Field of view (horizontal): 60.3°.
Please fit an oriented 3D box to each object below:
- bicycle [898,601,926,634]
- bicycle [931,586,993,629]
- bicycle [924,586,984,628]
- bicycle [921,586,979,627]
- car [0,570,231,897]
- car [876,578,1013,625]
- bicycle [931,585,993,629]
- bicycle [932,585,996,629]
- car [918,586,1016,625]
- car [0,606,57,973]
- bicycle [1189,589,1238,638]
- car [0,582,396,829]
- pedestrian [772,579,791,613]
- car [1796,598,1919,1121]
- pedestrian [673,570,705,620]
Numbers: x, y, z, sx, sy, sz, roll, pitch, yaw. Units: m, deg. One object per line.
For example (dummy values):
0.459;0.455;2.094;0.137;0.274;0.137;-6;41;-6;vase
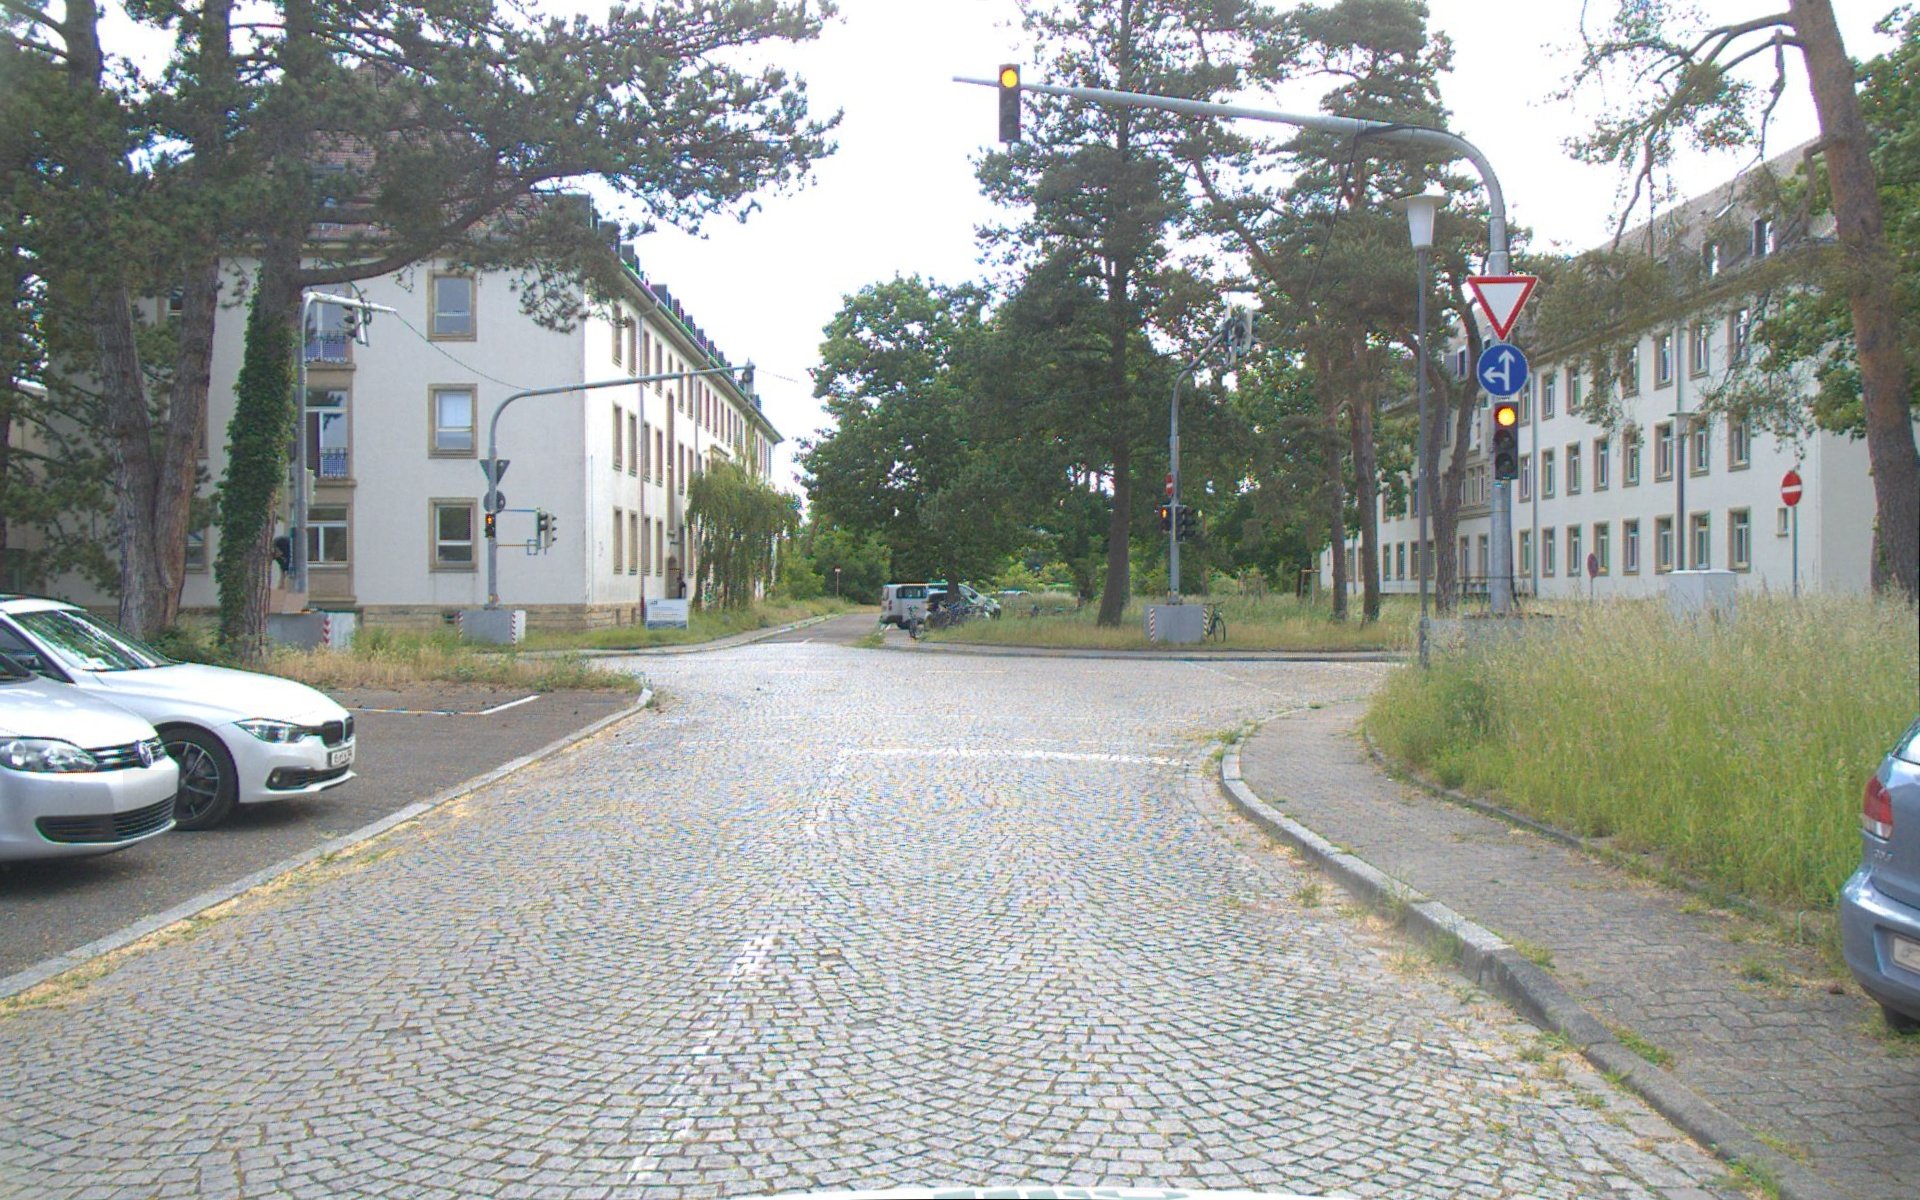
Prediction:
-1.497;0.533;51.731;0.605;0.980;2.078;0;0;6;bicycle
0.055;0.231;54.854;2.027;1.402;0.620;0;0;-1;bicycle
-0.191;0.224;56.445;2.027;1.402;0.620;0;0;-1;bicycle
-0.355;0.223;57.927;2.027;1.402;0.620;0;0;-1;bicycle
-6.222;0.594;8.770;3.910;1.574;1.722;2;0;-6;car
-0.686;0.042;71.435;5.594;1.944;2.222;-1;0;-14;car
0.071;0.230;54.230;2.027;1.402;0.620;0;0;-1;bicycle
0.128;0.232;53.560;2.027;1.402;0.620;0;0;-1;bicycle
0.258;0.208;68.084;3.856;1.571;1.998;0;0;-6;car
-5.737;0.694;5.978;3.907;1.452;1.750;2;0;-2;car
6.335;0.335;41.417;0.890;1.197;1.873;0;0;-2;bicycle
-6.409;0.630;11.186;4.557;1.469;1.800;2;0;-5;car
-10.849;-0.232;100.481;0.938;2.049;0.796;0;0;8;pedestrian
4.526;0.689;4.503;3.687;1.451;1.605;-2;1;-2;car
-11.275;-0.202;68.825;1.064;2.049;1.022;0;0;4;pedestrian
